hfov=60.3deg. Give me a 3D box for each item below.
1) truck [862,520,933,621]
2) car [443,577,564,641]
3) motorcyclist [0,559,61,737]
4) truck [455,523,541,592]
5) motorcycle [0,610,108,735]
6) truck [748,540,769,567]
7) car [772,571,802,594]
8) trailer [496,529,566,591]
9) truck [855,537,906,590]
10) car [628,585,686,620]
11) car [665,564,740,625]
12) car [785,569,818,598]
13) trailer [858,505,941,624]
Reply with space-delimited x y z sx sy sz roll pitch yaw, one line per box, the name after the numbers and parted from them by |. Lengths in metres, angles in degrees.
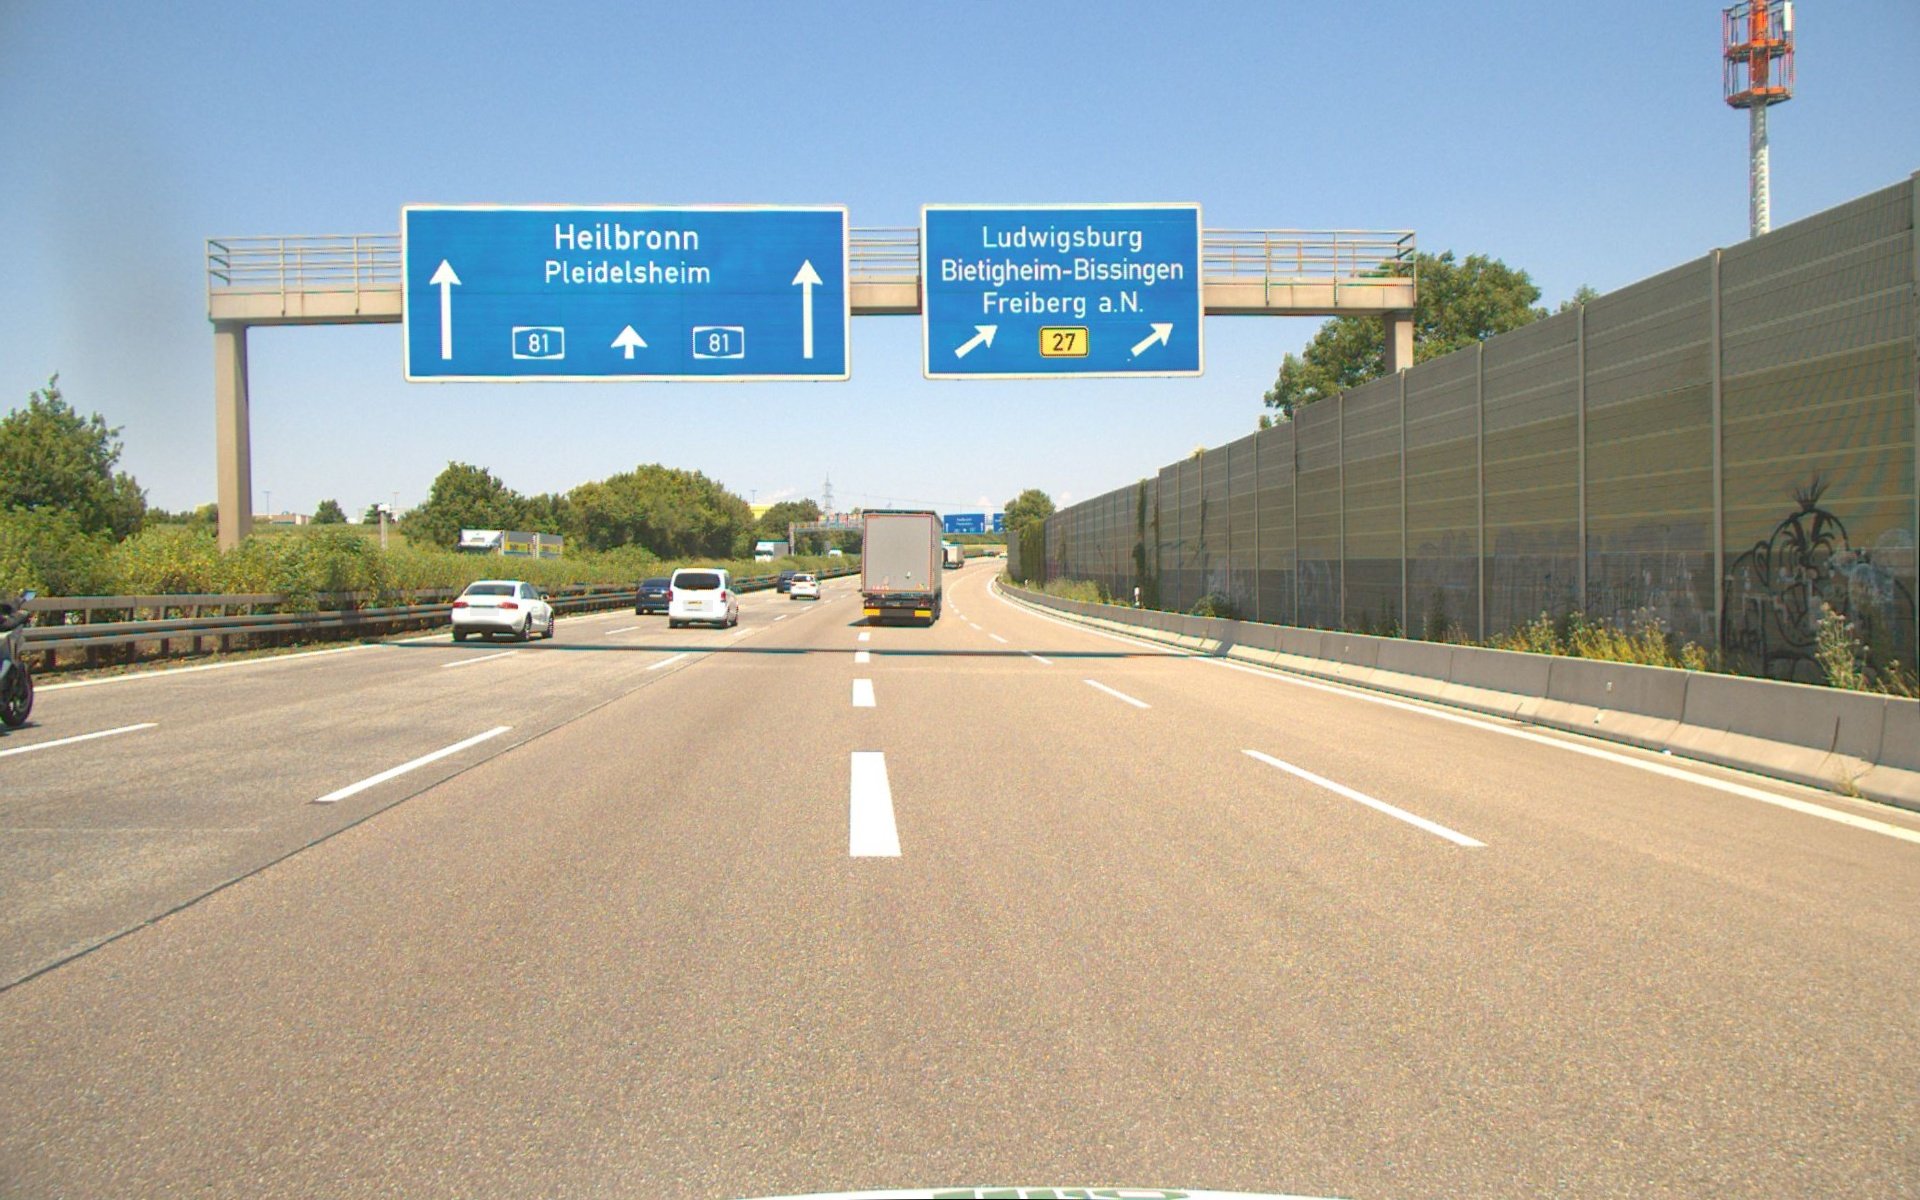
-2.677 -1.171 70.506 2.869 4.086 7.579 0 0 -3 | truck
-11.196 0.187 40.890 1.839 1.465 5.122 1 0 -4 | car
-9.224 0.431 15.522 0.875 1.625 1.299 0 0 -1 | motorcyclist
-28.542 -2.559 102.668 2.942 4.036 10.315 1 1 -3 | truck
-9.227 0.675 15.638 0.894 1.108 2.849 0 1 -1 | motorcycle
-30.647 -7.019 251.297 2.486 4.016 5.167 1 1 0 | truck
-13.469 -1.381 128.687 1.865 1.718 4.631 0 2 0 | car
-29.004 -2.653 112.154 2.865 4.036 8.653 1 1 -3 | trailer
-6.836 -3.277 144.605 3.670 4.344 14.498 1 2 0 | truck
-12.518 0.112 68.687 1.722 1.433 5.036 0 0 -3 | car
-8.339 -0.158 53.875 1.892 1.884 4.689 0 0 -3 | car
-10.282 -1.094 107.561 1.866 1.884 4.629 0 1 -2 | car
-2.347 -1.212 63.151 2.869 4.086 12.031 0 0 -3 | trailer
